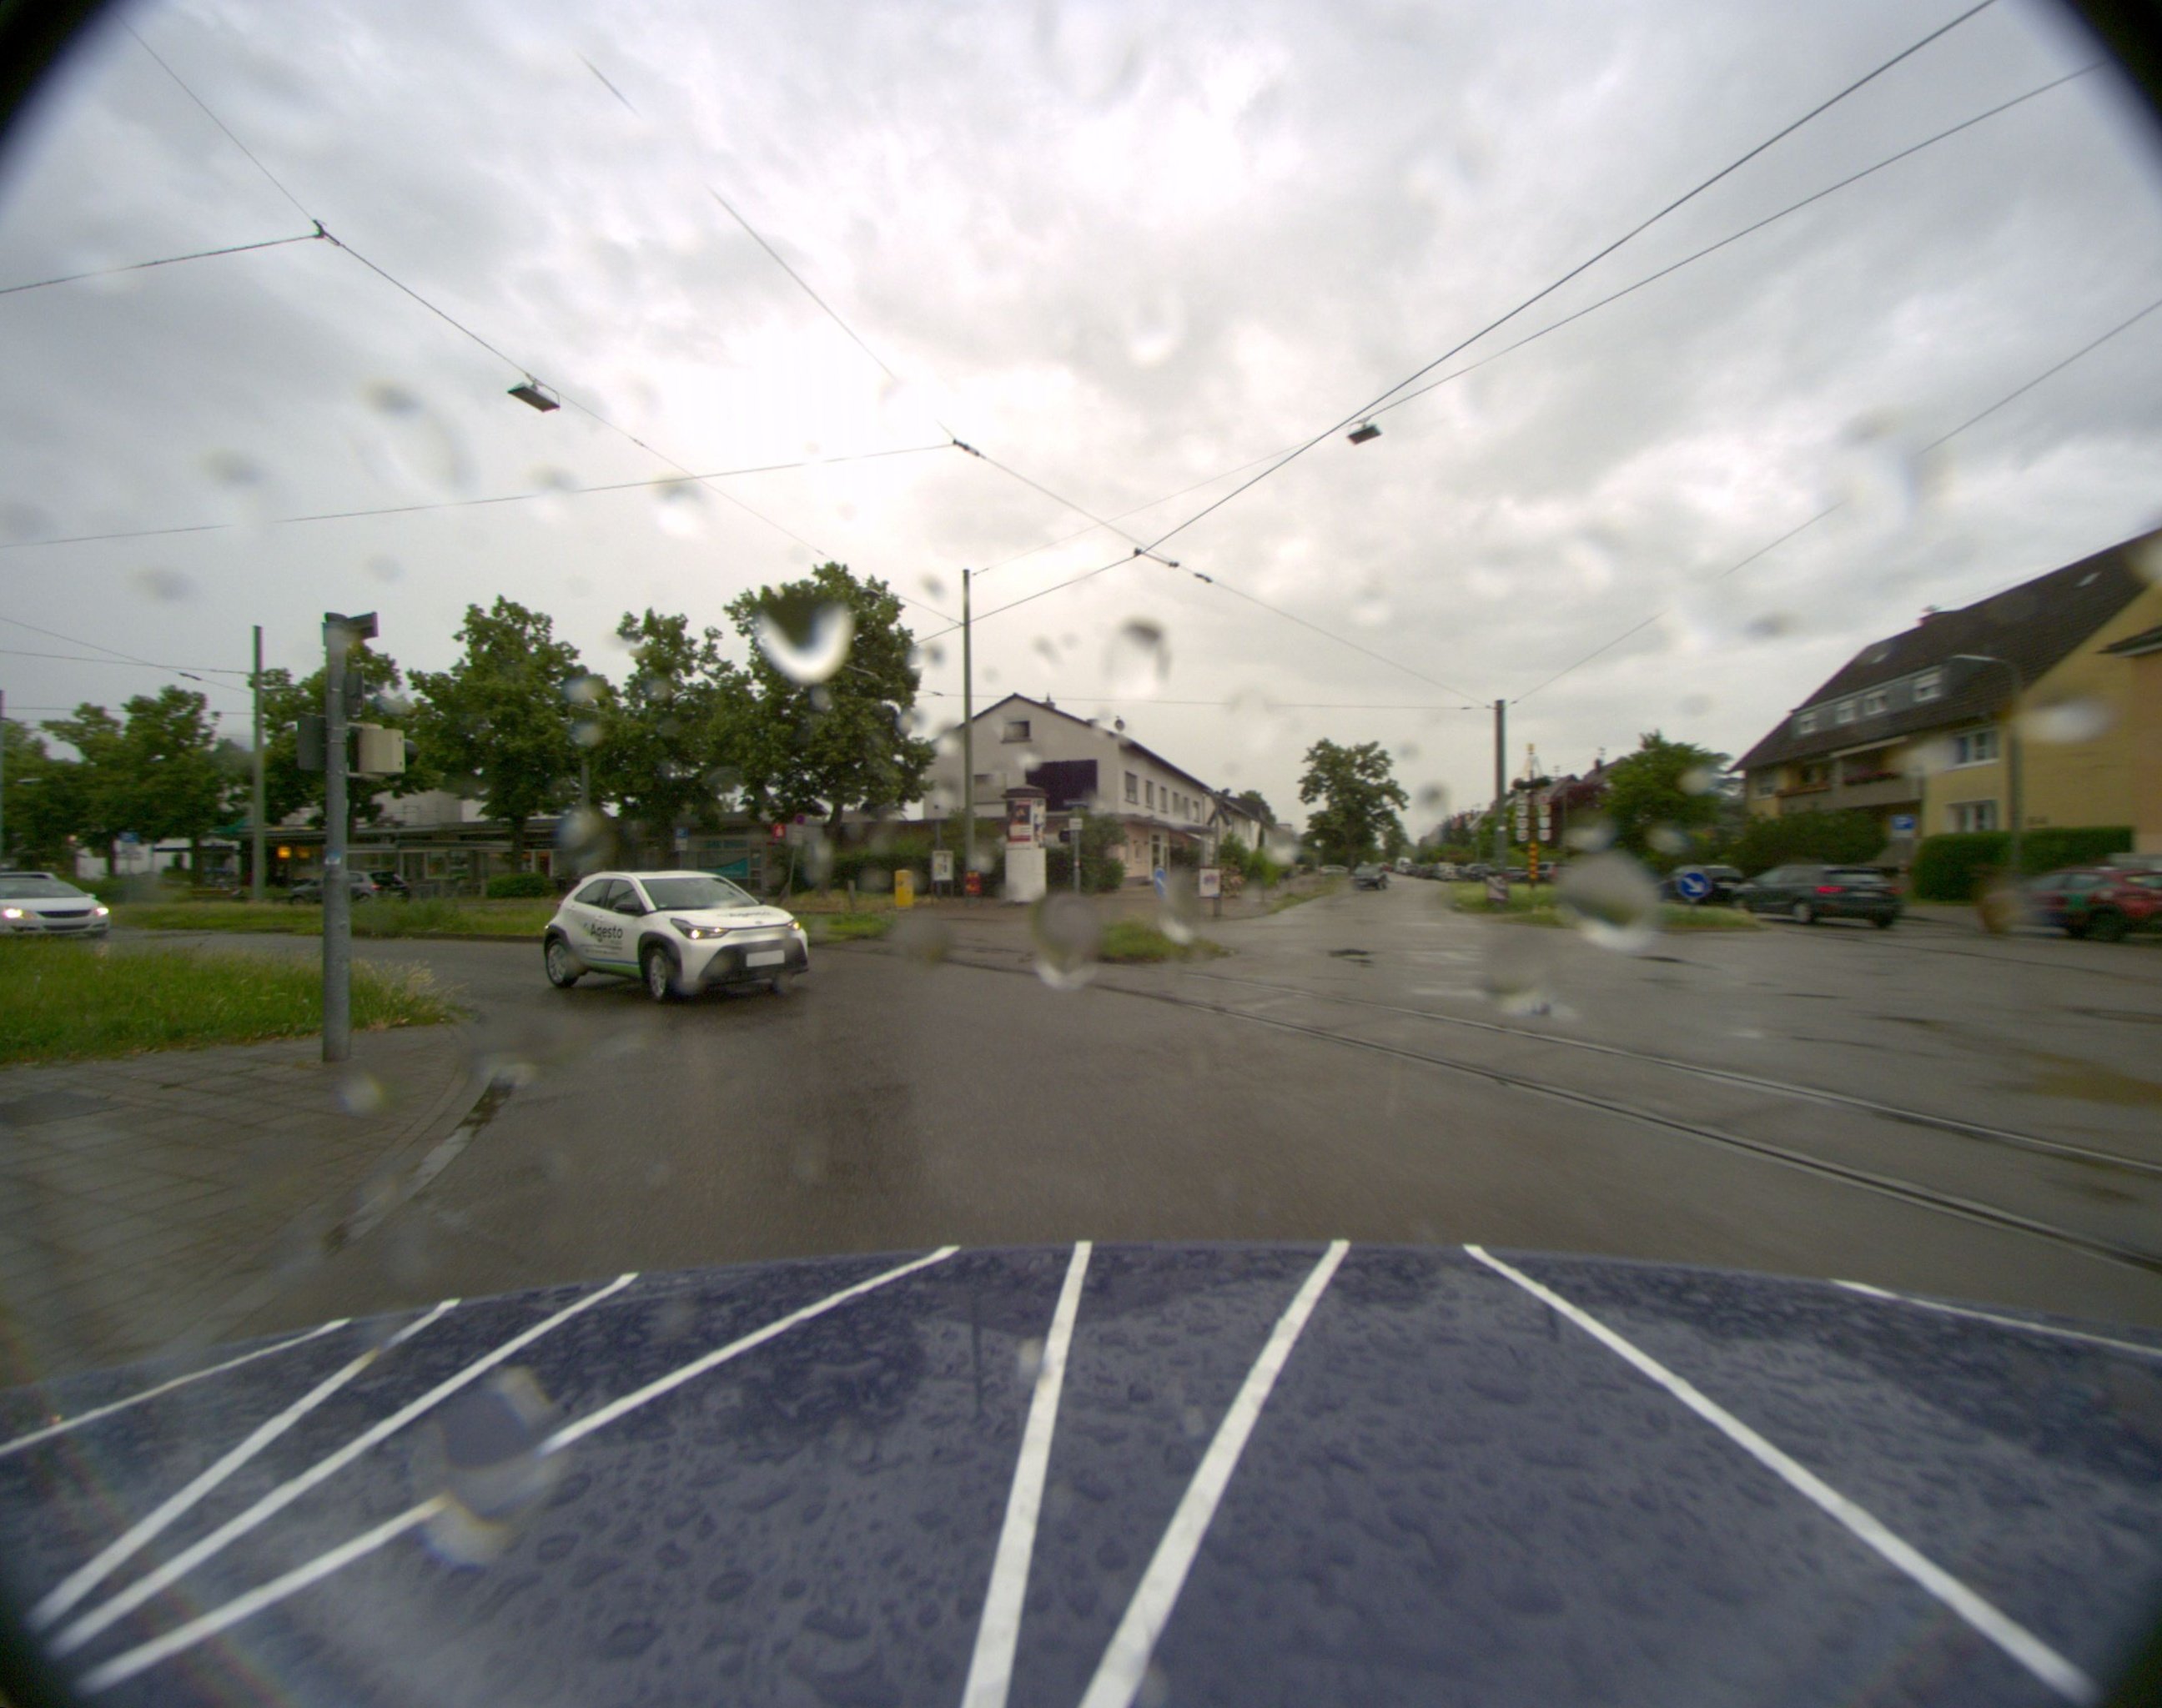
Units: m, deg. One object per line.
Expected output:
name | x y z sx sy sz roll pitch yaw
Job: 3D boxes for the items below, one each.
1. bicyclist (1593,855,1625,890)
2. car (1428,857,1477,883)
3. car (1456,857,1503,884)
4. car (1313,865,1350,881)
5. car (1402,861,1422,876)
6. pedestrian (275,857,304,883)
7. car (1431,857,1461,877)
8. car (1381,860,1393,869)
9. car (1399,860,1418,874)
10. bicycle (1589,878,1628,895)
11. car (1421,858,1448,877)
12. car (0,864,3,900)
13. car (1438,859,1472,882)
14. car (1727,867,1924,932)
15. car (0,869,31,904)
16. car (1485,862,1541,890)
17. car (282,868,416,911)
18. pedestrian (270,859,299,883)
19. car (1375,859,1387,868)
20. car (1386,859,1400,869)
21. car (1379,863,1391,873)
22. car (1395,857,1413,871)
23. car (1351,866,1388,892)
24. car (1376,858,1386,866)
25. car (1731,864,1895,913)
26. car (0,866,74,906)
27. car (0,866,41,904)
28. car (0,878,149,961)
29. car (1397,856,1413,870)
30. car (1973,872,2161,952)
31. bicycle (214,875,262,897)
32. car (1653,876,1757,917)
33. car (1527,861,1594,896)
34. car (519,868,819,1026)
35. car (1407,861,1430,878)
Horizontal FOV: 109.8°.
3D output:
bicyclist | 24.336 0.866 35.044 0.948 1.588 1.044 0 -1 16
car | 22.194 0.964 45.500 1.996 1.467 4.006 0 -1 16
car | 29.563 1.220 56.473 1.997 1.784 4.002 -1 1 11
car | 28.207 2.138 85.686 3.992 1.673 2.002 0 2 16
car | 44.028 1.865 101.098 1.996 1.784 4.004 0 2 16
pedestrian | -51.080 1.020 49.043 0.945 1.704 1.082 1 0 30
car | 35.484 1.220 73.948 1.996 1.784 4.004 0 2 16
car | 63.280 2.215 157.020 1.996 1.784 4.004 0 2 16
car | 45.538 1.782 105.599 1.943 1.685 4.004 0 2 16
bicycle | 24.349 1.493 35.100 0.940 0.782 1.822 0 -1 16
car | 36.825 1.382 79.172 1.996 1.784 4.004 0 2 16
car | -53.601 1.385 35.026 1.895 1.699 4.096 -1 1 18
car | 32.806 1.433 66.767 1.996 1.784 4.004 0 2 16
car | 19.010 1.095 19.695 1.996 1.467 4.006 0 -1 16
car | -51.365 1.544 34.351 1.996 1.562 4.096 -1 1 18
car | 28.591 1.431 50.407 1.997 1.565 4.129 -1 1 10
car | -28.045 1.356 29.172 3.620 1.495 1.552 -1 2 2
pedestrian | -52.125 1.107 49.722 0.945 1.574 1.082 1 0 30
car | 68.876 2.228 174.479 1.996 1.784 4.004 0 2 16
car | 57.329 1.859 139.663 1.996 1.784 4.004 0 2 16
car | 64.680 2.956 161.695 1.996 1.784 4.004 0 2 16
car | 47.318 1.441 111.305 1.996 1.784 4.004 0 2 16
car | 18.800 1.616 49.462 1.785 1.454 4.006 0 2 28
car | 71.190 1.963 180.405 1.996 1.784 4.004 0 2 16
car | 23.606 1.052 24.784 1.963 1.388 4.511 0 0 16
car | -47.193 1.421 32.599 1.996 1.664 4.343 -1 1 18
car | -49.321 1.435 33.343 1.790 1.664 3.952 -1 1 18
car | -24.208 1.428 17.485 3.992 1.544 1.965 1 1 14
car | 50.094 1.421 117.658 1.996 2.023 4.004 0 2 18
car | 21.336 1.132 15.896 1.719 1.331 3.620 0 1 15
bicycle | -42.142 1.594 37.994 1.749 1.066 0.594 0 -1 2
car | 25.110 1.655 30.752 1.756 1.324 4.004 0 1 15
car | 27.867 1.391 44.289 1.997 1.784 4.002 -1 1 11
car | -5.331 1.073 9.745 3.705 1.614 1.724 -3 0 32
car | 39.751 1.812 89.538 1.996 1.784 4.004 0 2 16
